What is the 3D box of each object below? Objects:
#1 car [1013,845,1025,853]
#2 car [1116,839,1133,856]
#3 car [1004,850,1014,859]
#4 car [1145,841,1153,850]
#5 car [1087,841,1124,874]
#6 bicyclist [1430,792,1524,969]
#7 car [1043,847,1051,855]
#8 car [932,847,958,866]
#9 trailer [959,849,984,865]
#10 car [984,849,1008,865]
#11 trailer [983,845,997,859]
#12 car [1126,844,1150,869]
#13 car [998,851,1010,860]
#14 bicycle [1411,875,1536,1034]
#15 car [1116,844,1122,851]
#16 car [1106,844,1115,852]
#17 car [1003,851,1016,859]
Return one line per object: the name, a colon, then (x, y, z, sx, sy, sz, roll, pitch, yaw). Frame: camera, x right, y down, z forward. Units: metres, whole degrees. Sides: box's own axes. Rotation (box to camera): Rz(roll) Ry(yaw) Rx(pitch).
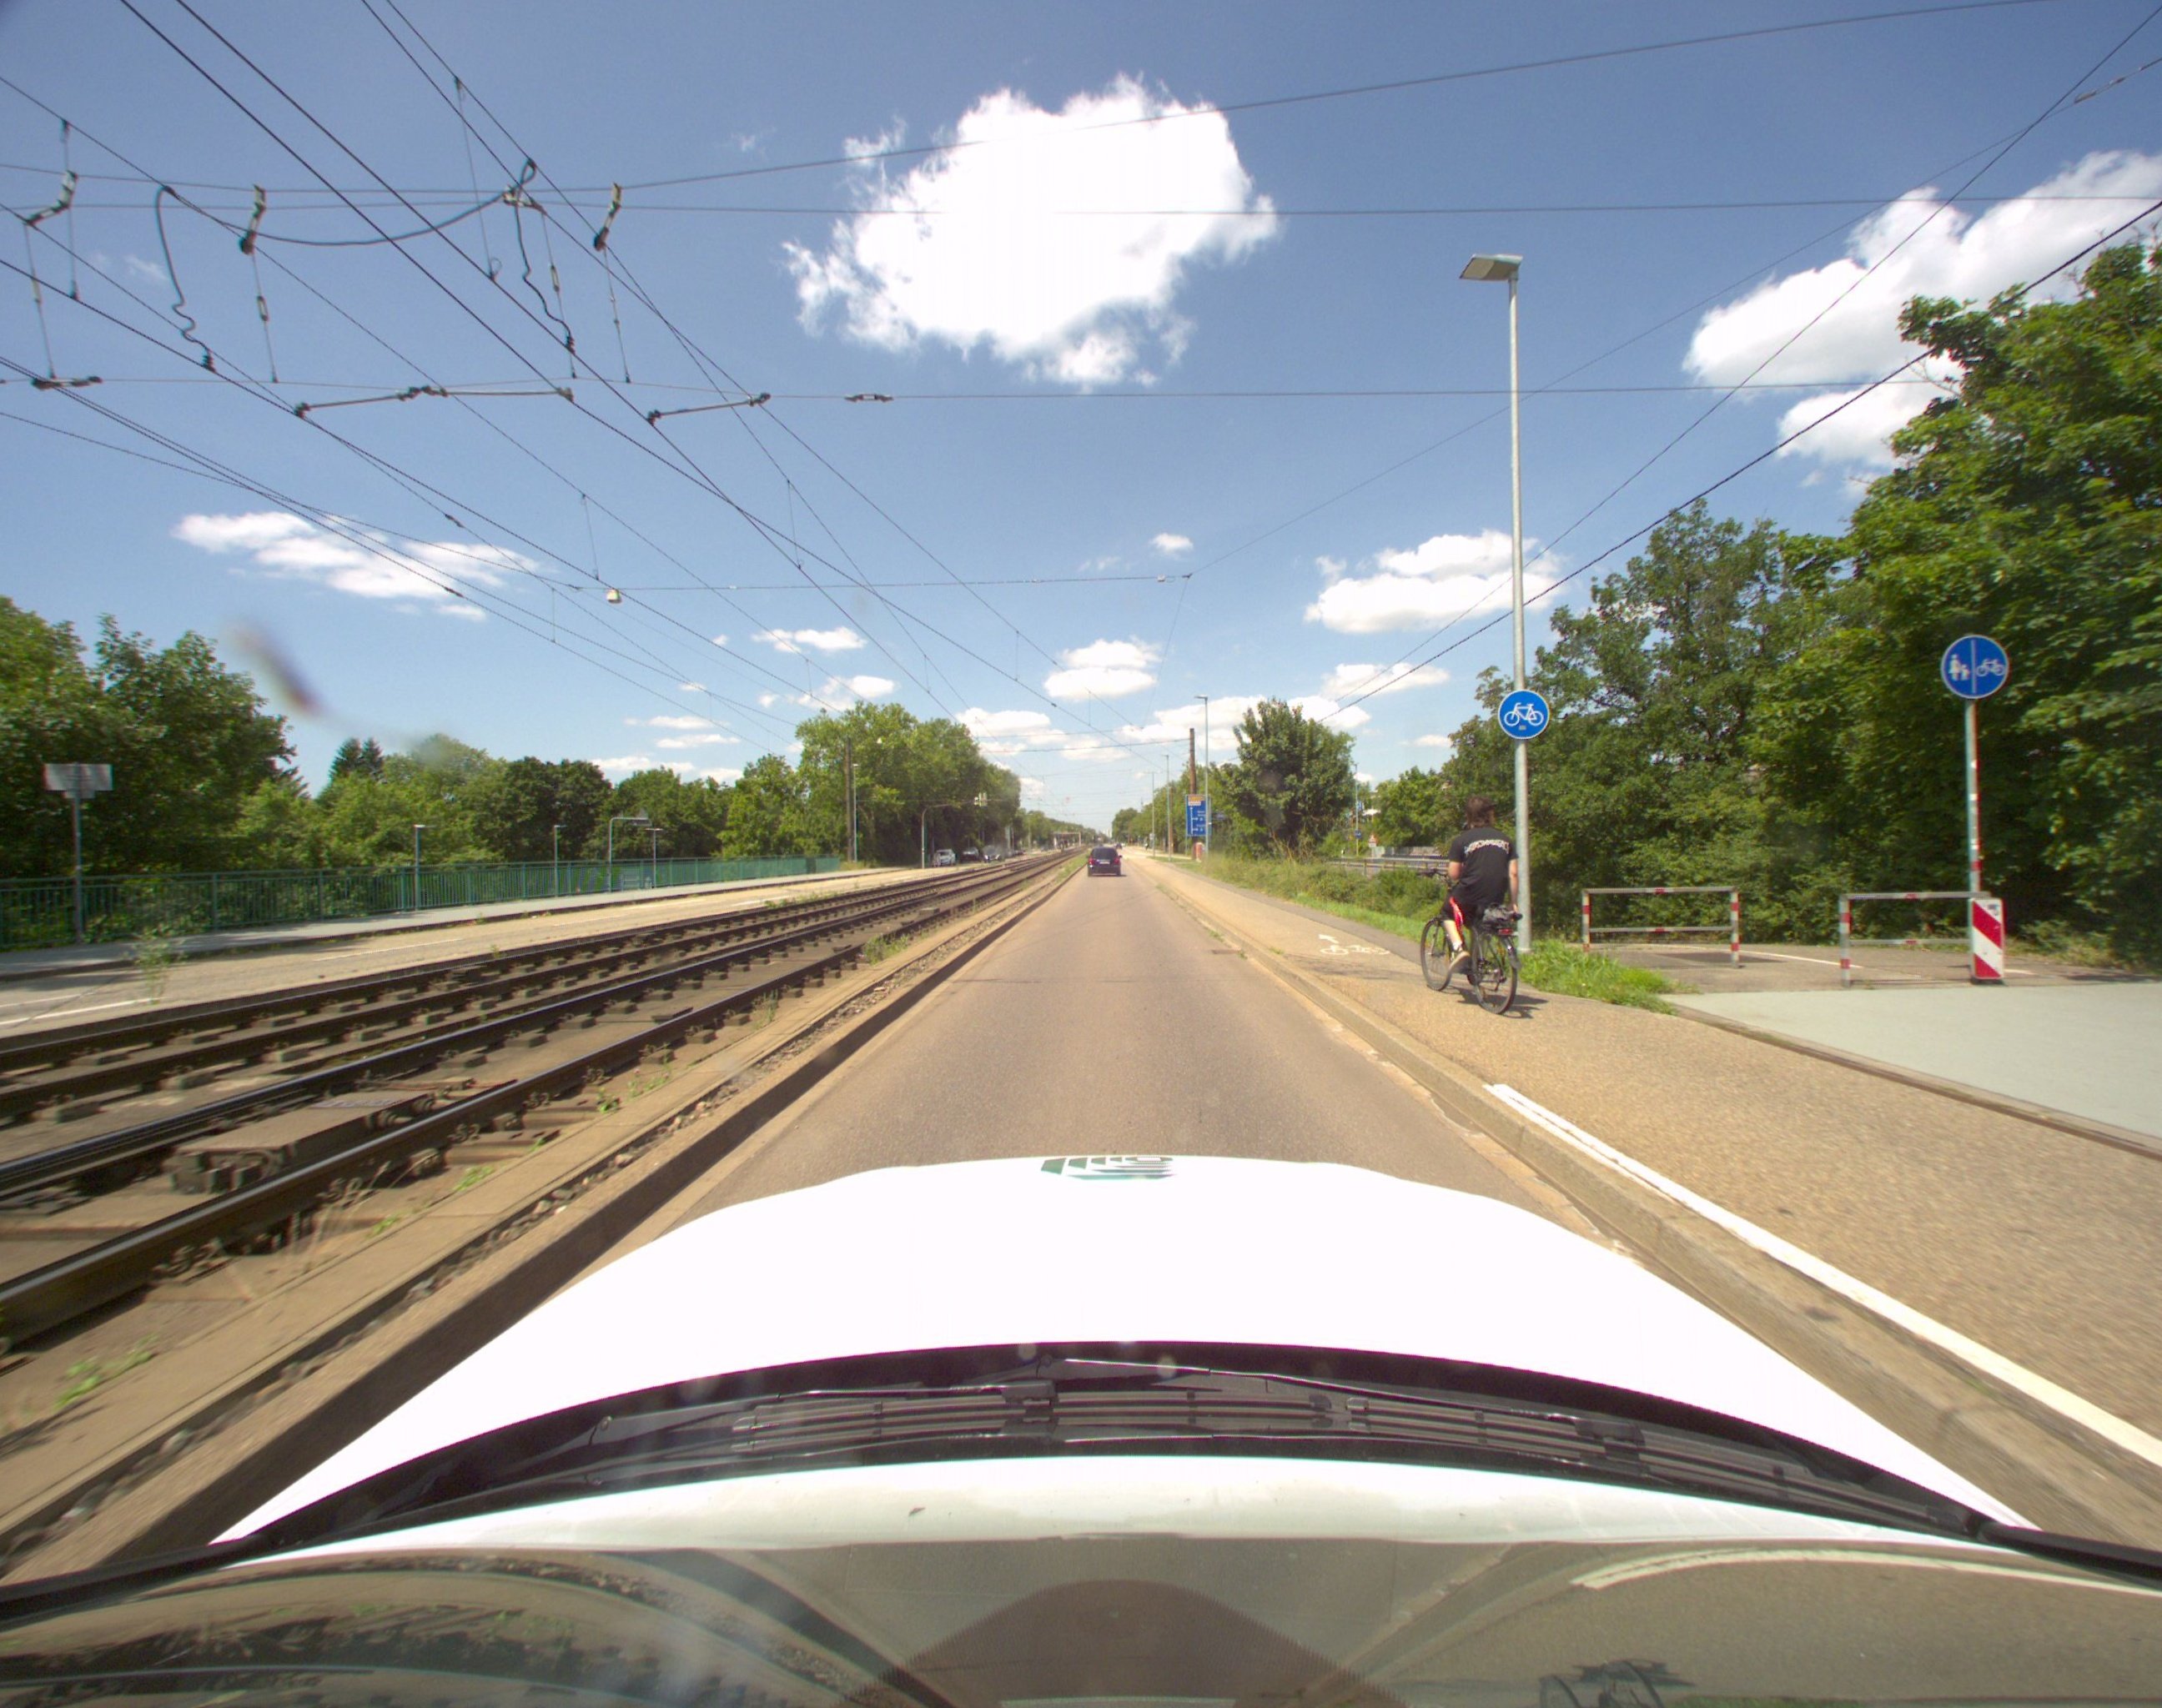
car: (-12.453, -0.996, 163.447, 1.986, 1.574, 4.001, -1, 0, 1)
car: (5.340, -0.872, 100.170, 1.986, 2.013, 4.001, 0, 2, 1)
car: (-12.297, 0.068, 139.221, 1.429, 1.451, 3.741, -1, 0, 0)
car: (17.328, -2.182, 207.487, 1.607, 2.013, 3.441, 0, 2, 1)
car: (1.378, 0.160, 44.072, 1.845, 1.570, 4.394, 0, 2, 4)
bicyclist: (3.458, 0.216, 7.147, 0.582, 1.494, 0.559, 0, 1, 6)
car: (-9.437, -0.801, 228.020, 1.986, 2.013, 4.002, -2, 0, 2)
car: (-13.655, 0.179, 81.848, 1.714, 1.630, 4.617, -4, 2, 1)
trailer: (-13.111, 0.342, 97.574, 2.455, 1.888, 5.956, -1, 0, -3)
car: (-9.367, 0.344, 90.200, 1.868, 1.720, 5.332, -1, 0, 1)
trailer: (-13.123, -0.280, 118.026, 1.605, 2.013, 3.914, 0, 1, -1)
car: (4.828, 0.216, 69.841, 1.985, 2.013, 4.004, 0, 2, 3)
car: (-12.613, 0.244, 133.452, 1.429, 1.451, 3.921, -1, 0, 0)
bicycle: (3.483, 0.822, 7.375, 0.430, 1.152, 1.859, 0, 2, 7)
car: (11.325, -1.853, 241.340, 1.780, 2.013, 4.003, 0, 2, 2)
car: (6.494, -1.326, 177.957, 1.877, 1.639, 4.004, 2, 2, 3)
car: (-12.719, 0.135, 144.609, 1.864, 1.401, 4.417, -1, 0, 0)
